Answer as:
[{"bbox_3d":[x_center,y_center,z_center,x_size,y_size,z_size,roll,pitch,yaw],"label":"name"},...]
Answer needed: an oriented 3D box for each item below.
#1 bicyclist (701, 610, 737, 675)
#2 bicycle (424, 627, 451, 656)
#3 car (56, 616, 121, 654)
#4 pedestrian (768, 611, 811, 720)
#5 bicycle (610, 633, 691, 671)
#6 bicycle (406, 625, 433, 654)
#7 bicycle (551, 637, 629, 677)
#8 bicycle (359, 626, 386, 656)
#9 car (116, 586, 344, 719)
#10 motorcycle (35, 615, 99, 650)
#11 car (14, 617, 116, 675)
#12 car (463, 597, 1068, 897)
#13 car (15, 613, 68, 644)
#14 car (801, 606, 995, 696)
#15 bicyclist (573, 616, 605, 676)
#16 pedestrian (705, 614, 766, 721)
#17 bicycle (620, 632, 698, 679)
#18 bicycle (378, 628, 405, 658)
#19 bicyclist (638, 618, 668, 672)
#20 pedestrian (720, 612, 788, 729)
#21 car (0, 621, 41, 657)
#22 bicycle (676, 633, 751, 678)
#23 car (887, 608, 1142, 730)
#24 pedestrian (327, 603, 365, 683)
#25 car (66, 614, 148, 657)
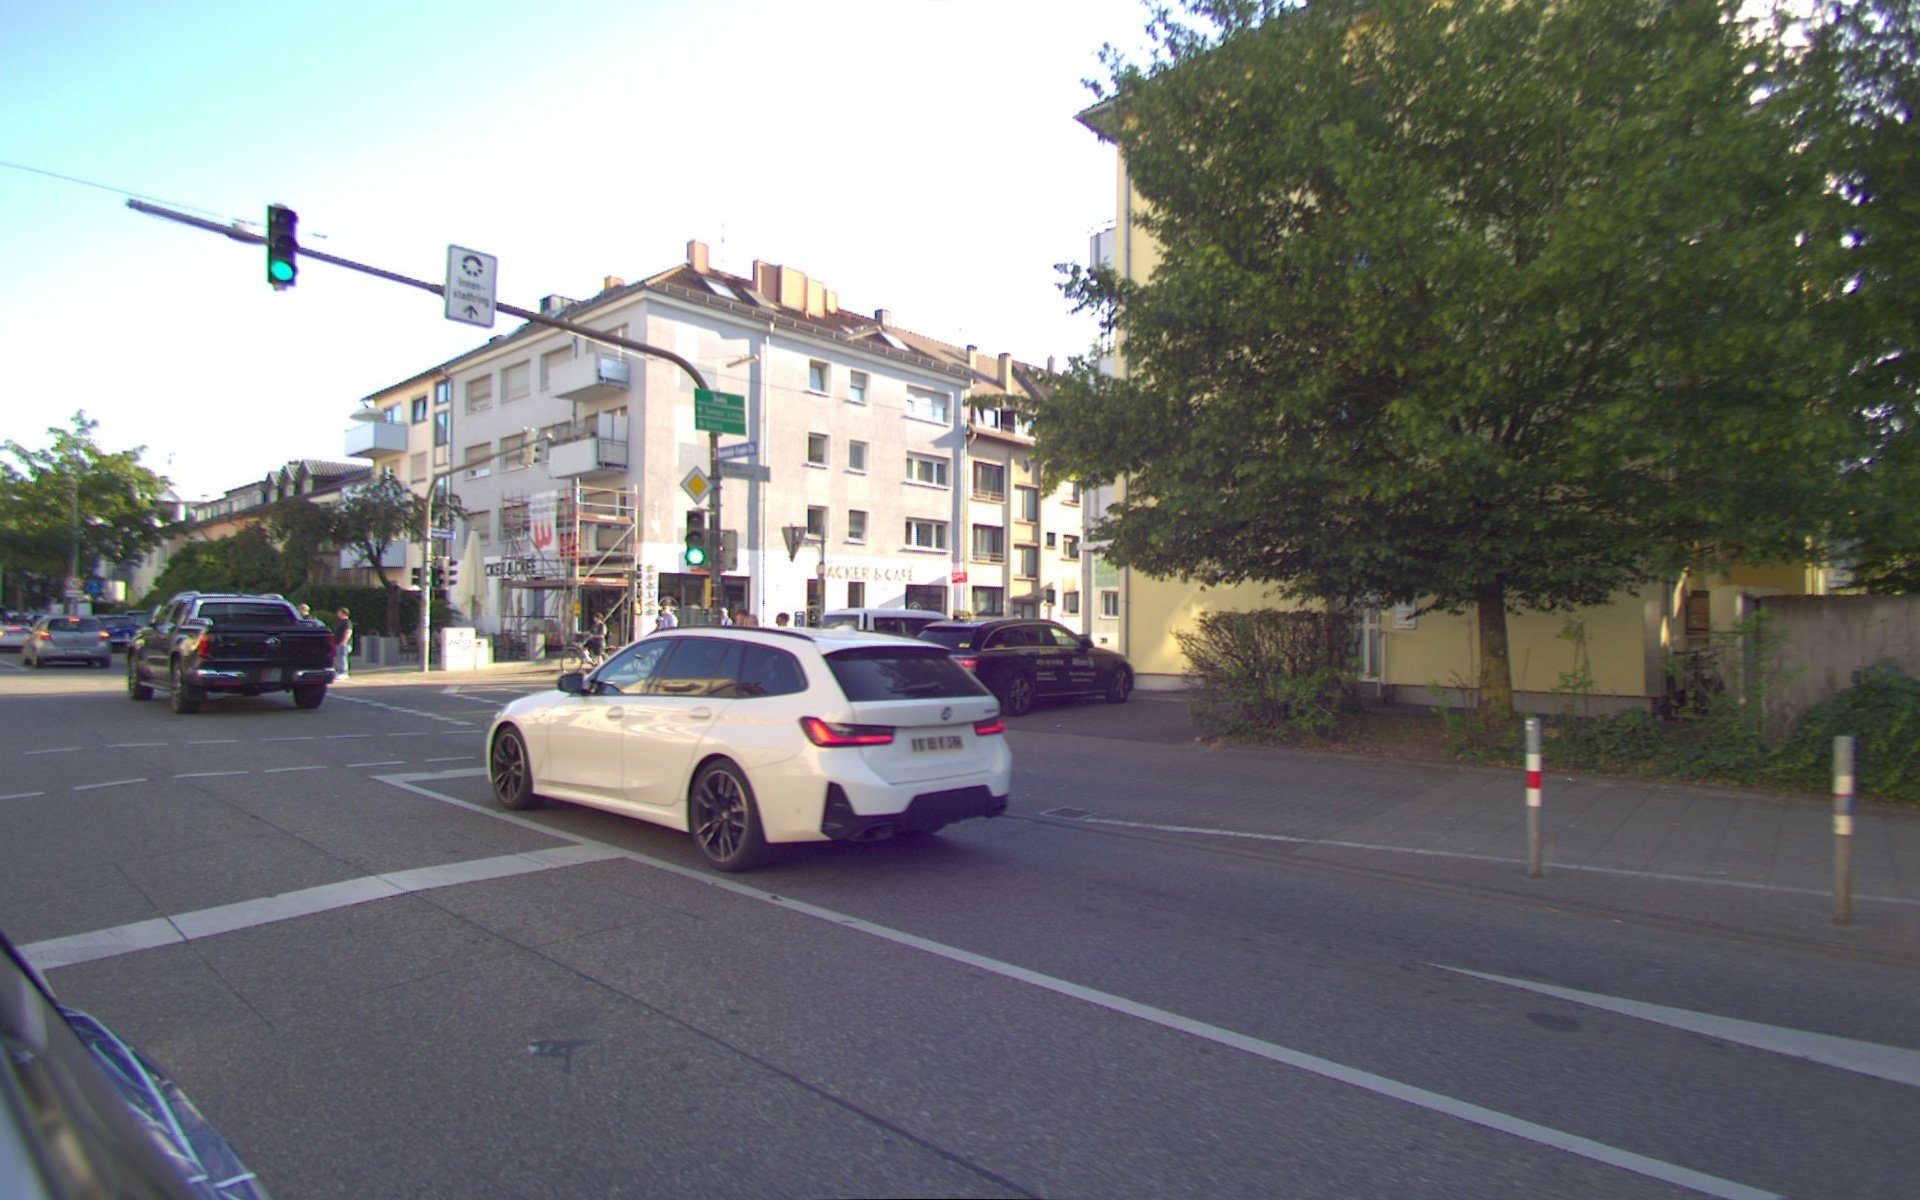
[{"bbox_3d":[-6.495,1.142,27.300,0.748,1.734,0.601,-2,-2,36],"label":"bicyclist"},{"bbox_3d":[-19.175,1.500,37.156,1.478,1.022,0.433,-1,-2,45],"label":"bicycle"},{"bbox_3d":[-37.122,1.442,43.084,3.572,1.547,1.732,-1,-1,43],"label":"car"},{"bbox_3d":[-2.721,1.014,16.118,0.598,1.641,0.752,-2,2,-12],"label":"pedestrian"},{"bbox_3d":[-9.488,1.597,31.051,2.233,1.097,0.730,3,0,-29],"label":"bicycle"},{"bbox_3d":[-19.608,1.438,36.725,1.478,1.022,0.433,-1,-2,45],"label":"bicycle"},{"bbox_3d":[-10.568,1.604,28.908,1.967,1.097,0.729,1,-3,-39],"label":"bicycle"},{"bbox_3d":[-20.748,1.453,35.750,1.478,1.022,0.433,-1,-2,45],"label":"bicycle"},{"bbox_3d":[-12.036,0.796,16.534,5.225,1.844,1.842,-1,-3,41],"label":"car"},{"bbox_3d":[-40.595,1.444,46.005,2.877,1.547,1.250,0,-1,28],"label":"motorcycle"},{"bbox_3d":[-26.012,1.279,29.380,3.999,1.569,1.785,-1,-1,42],"label":"car"},{"bbox_3d":[-1.656,0.793,7.291,4.670,1.485,1.817,-1,-3,42],"label":"car"},{"bbox_3d":[-49.492,1.508,54.489,4.196,1.626,1.711,-1,-1,43],"label":"car"},{"bbox_3d":[-1.330,1.105,23.232,1.907,1.862,4.425,-1,-1,41],"label":"car"},{"bbox_3d":[-10.592,1.303,28.897,0.662,1.666,0.751,1,-3,-38],"label":"bicyclist"},{"bbox_3d":[-3.617,1.069,16.344,0.607,1.670,0.741,-1,-1,35],"label":"pedestrian"},{"bbox_3d":[-7.933,1.455,26.751,0.726,1.175,1.975,-2,-2,35],"label":"bicycle"},{"bbox_3d":[-20.321,1.517,36.169,1.478,1.022,0.433,-1,-2,45],"label":"bicycle"},{"bbox_3d":[-9.437,1.390,31.074,0.677,1.606,0.752,3,0,-29],"label":"bicyclist"},{"bbox_3d":[-2.988,1.002,14.685,0.749,1.606,0.601,0,3,39],"label":"pedestrian"},{"bbox_3d":[-37.634,1.517,39.773,4.441,1.330,1.821,-1,-2,43],"label":"car"},{"bbox_3d":[-6.588,1.471,27.155,0.726,1.166,1.975,-2,-2,35],"label":"bicycle"},{"bbox_3d":[1.039,0.988,16.469,1.841,1.626,4.546,-1,0,39],"label":"car"},{"bbox_3d":[-15.984,1.089,26.328,0.814,2.029,0.637,0,0,43],"label":"pedestrian"},{"bbox_3d":[-33.734,1.370,39.990,3.947,1.626,1.787,-1,-1,39],"label":"car"}]
